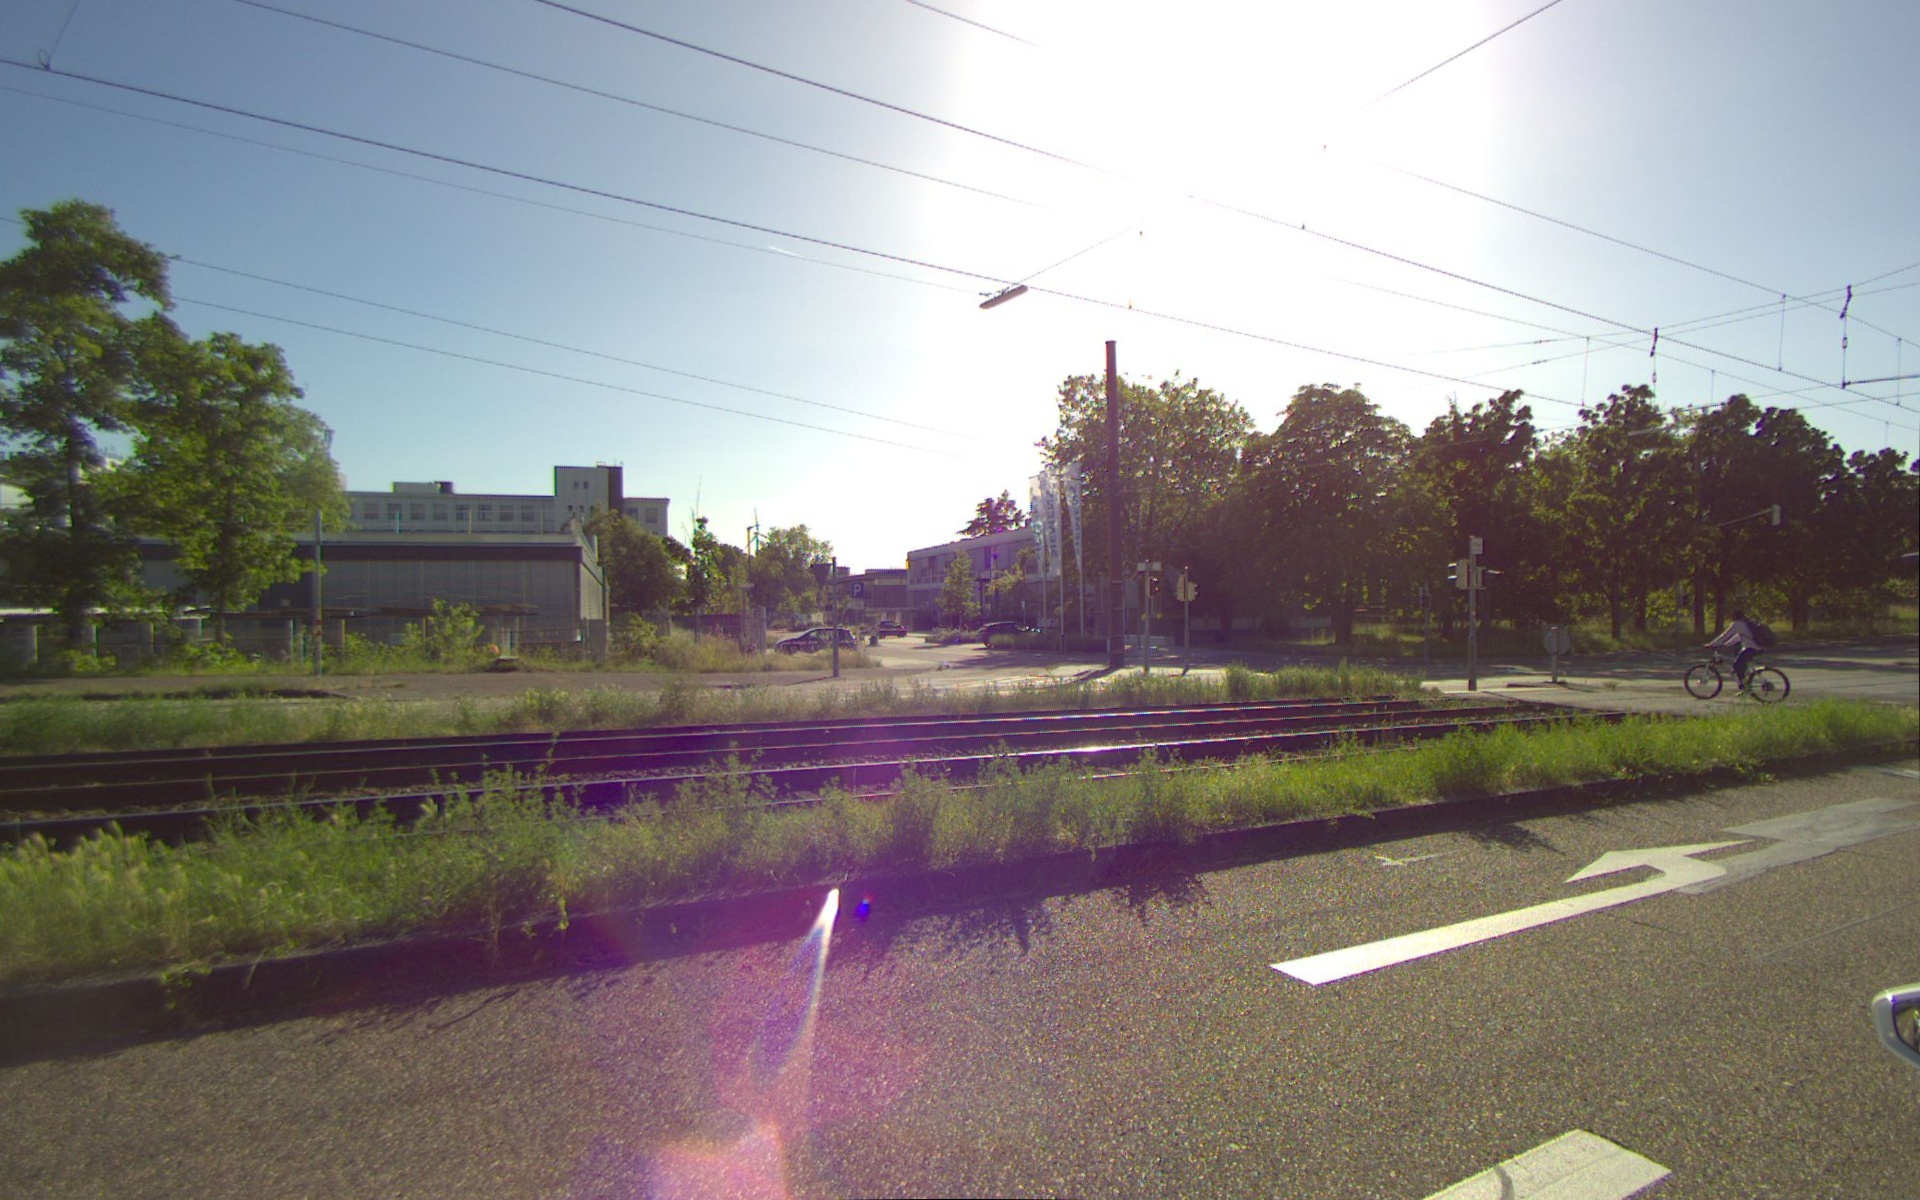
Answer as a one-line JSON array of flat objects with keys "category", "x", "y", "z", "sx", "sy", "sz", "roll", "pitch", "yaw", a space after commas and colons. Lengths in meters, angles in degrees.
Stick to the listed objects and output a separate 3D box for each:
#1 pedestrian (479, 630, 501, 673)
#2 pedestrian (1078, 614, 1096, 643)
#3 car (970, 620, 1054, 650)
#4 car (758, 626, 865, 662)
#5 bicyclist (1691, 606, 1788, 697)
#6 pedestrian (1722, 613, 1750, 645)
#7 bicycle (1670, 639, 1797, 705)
[{"category": "pedestrian", "x": -14.716, "y": 1.609, "z": 31.460, "sx": 0.432, "sy": 1.318, "sz": 0.441, "roll": 0, "pitch": 0, "yaw": 18}, {"category": "pedestrian", "x": 7.751, "y": 1.736, "z": 61.449, "sx": 0.807, "sy": 1.811, "sz": 0.950, "roll": 0, "pitch": 0, "yaw": -16}, {"category": "car", "x": 3.198, "y": 2.139, "z": 61.711, "sx": 4.768, "sy": 1.751, "sz": 2.041, "roll": 1, "pitch": 0, "yaw": -21}, {"category": "car", "x": -7.680, "y": 2.259, "z": 51.915, "sx": 5.210, "sy": 1.772, "sz": 2.164, "roll": 1, "pitch": 0, "yaw": -19}, {"category": "bicyclist", "x": 14.549, "y": 0.931, "z": 18.773, "sx": 0.796, "sy": 1.614, "sz": 1.226, "roll": 1, "pitch": 0, "yaw": -31}, {"category": "pedestrian", "x": 42.491, "y": 1.574, "z": 55.004, "sx": 0.919, "sy": 1.757, "sz": 0.761, "roll": 0, "pitch": 0, "yaw": -2}, {"category": "bicycle", "x": 14.470, "y": 1.317, "z": 18.843, "sx": 0.691, "sy": 1.117, "sz": 1.766, "roll": 1, "pitch": 0, "yaw": -30}]
